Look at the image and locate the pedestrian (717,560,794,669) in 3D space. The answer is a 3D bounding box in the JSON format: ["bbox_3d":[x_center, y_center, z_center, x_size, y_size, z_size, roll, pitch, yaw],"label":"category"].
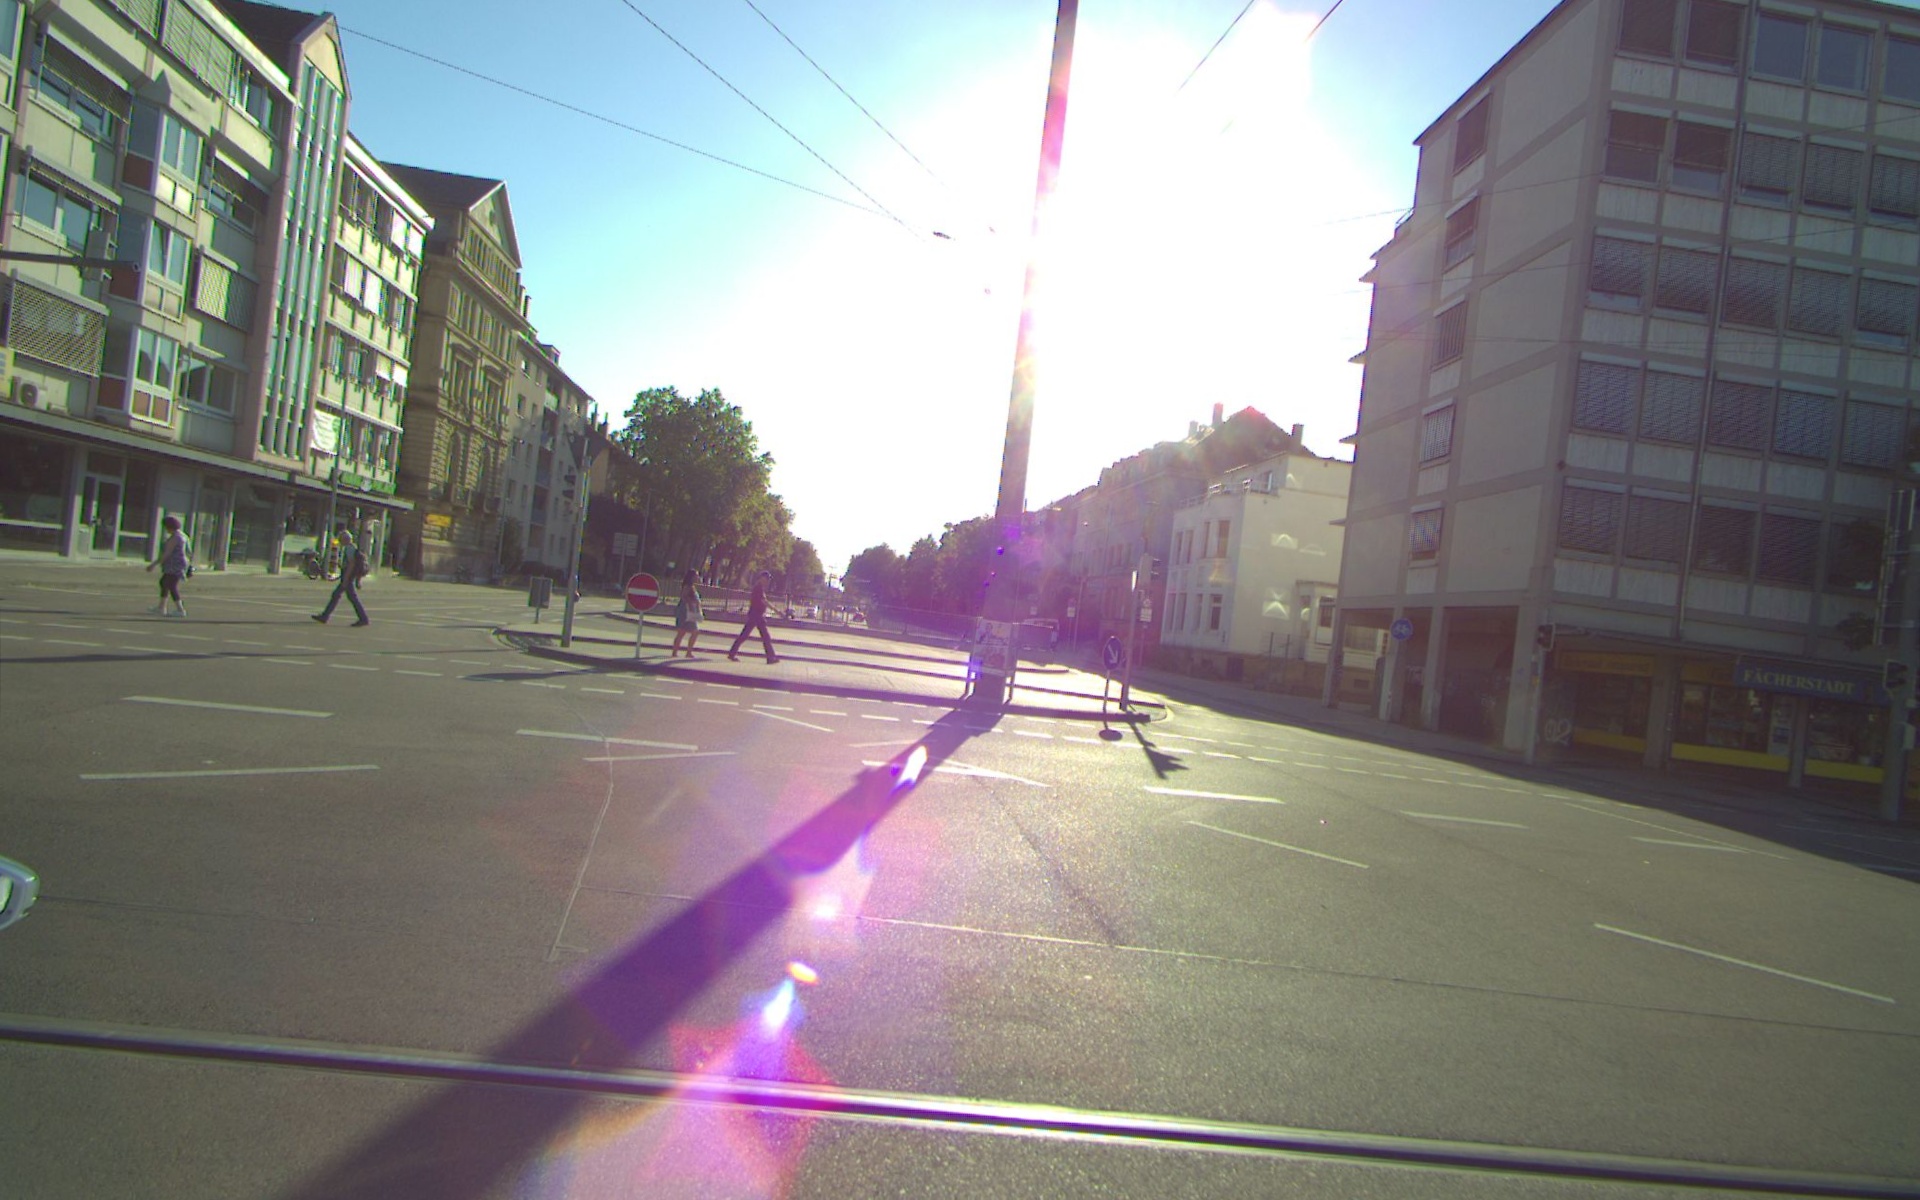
[{"bbox_3d":[-3.963,0.280,19.506,1.180,1.905,0.854,9,-1,-13],"label":"pedestrian"}]

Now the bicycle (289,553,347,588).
[{"bbox_3d":[-23.949,-1.097,37.564,0.444,1.083,2.095,8,-2,9],"label":"bicycle"}]

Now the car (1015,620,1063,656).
[{"bbox_3d":[5.653,2.680,72.766,2.254,2.197,4.830,9,-2,-6],"label":"car"}]

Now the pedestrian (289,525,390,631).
[{"bbox_3d":[-11.554,-0.398,18.776,1.180,1.751,0.854,9,-1,-13],"label":"pedestrian"}]

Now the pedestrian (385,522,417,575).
[{"bbox_3d":[-27.371,-2.510,49.248,0.916,2.426,0.957,9,-1,-19],"label":"pedestrian"}]

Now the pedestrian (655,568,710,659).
[{"bbox_3d":[-4.869,0.242,17.685,0.696,1.470,0.854,8,-1,-13],"label":"pedestrian"}]

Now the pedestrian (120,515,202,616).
[{"bbox_3d":[-12.835,-0.530,16.193,0.850,1.479,0.680,9,-6,-37],"label":"pedestrian"}]
